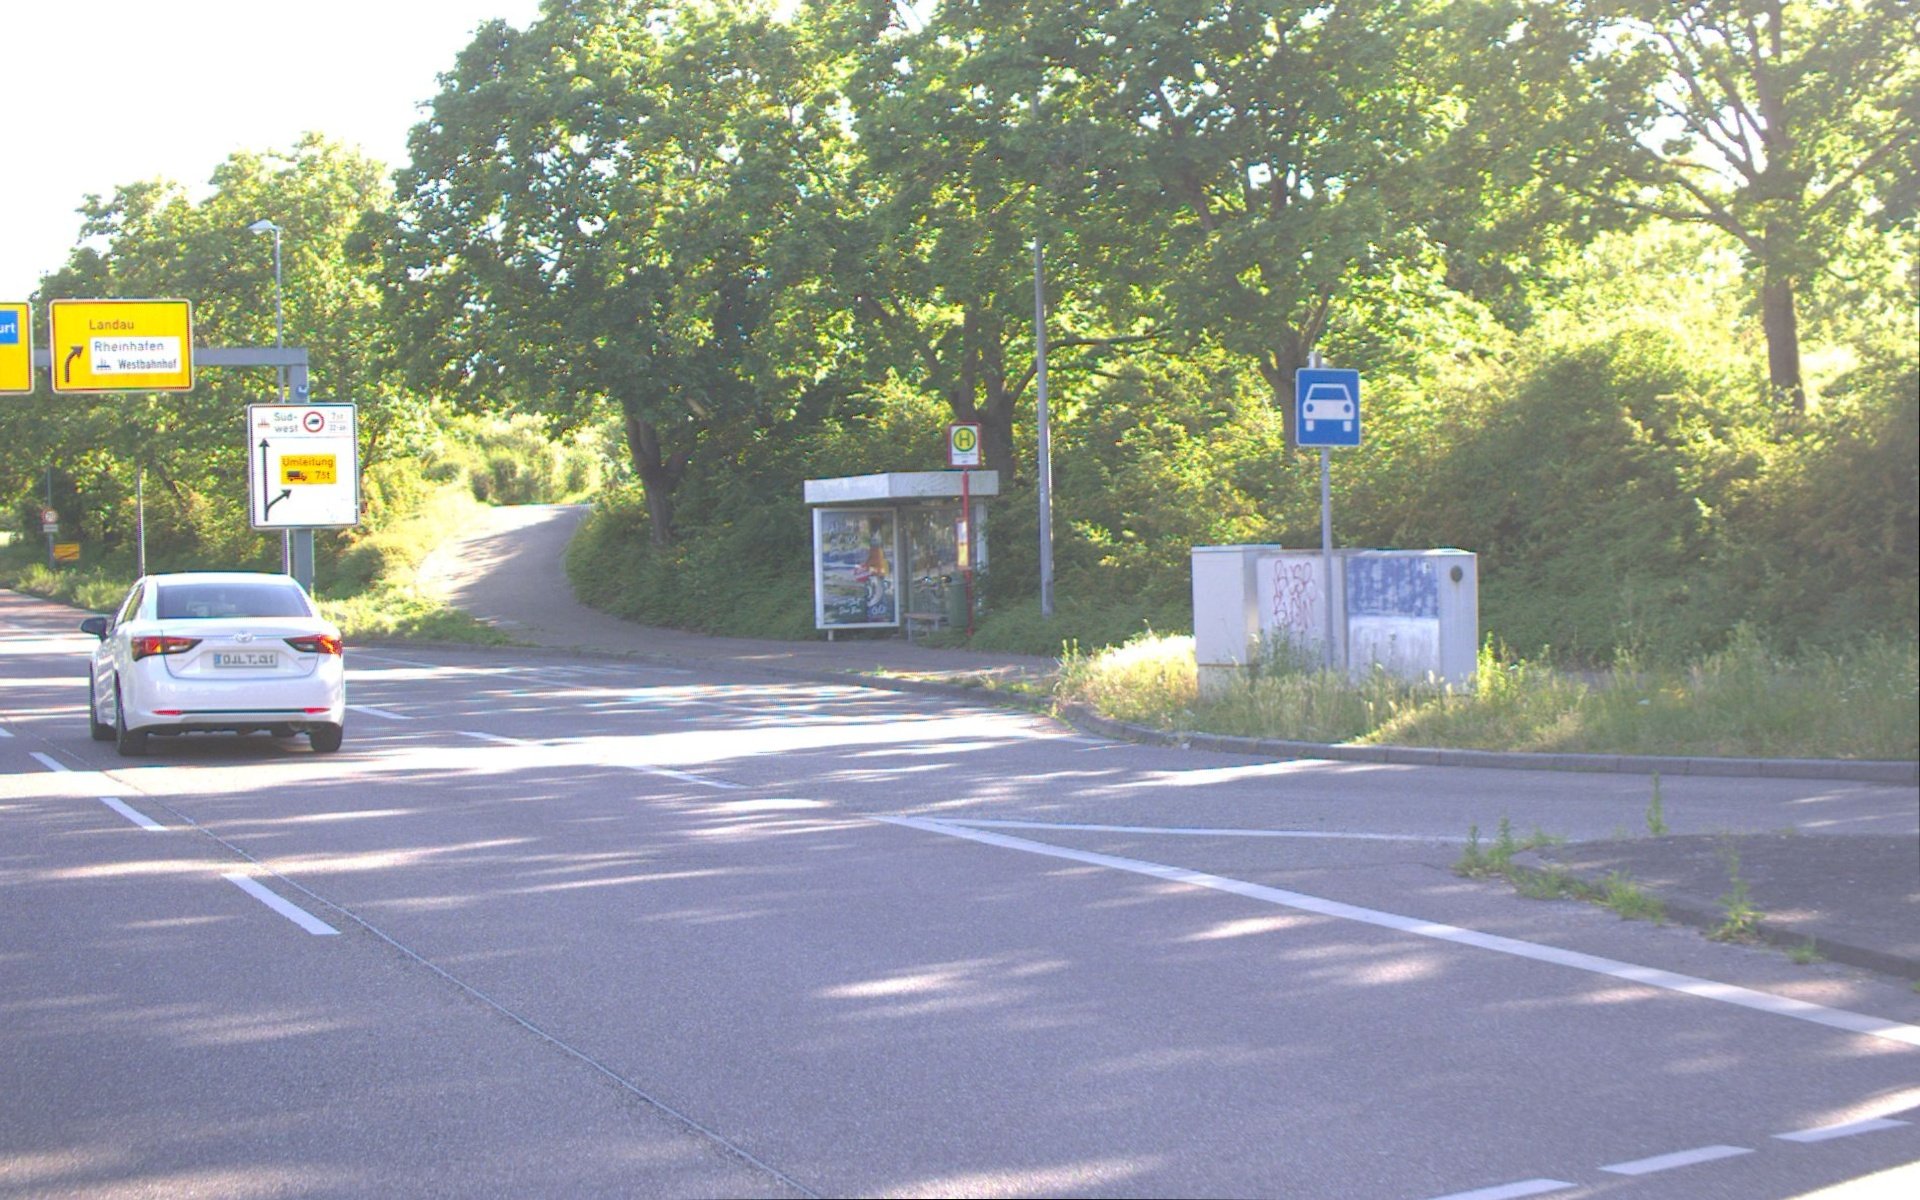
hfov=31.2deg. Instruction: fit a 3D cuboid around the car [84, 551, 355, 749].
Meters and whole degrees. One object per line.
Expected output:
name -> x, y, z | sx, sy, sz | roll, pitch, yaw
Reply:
car -> -6.275, 0.353, 28.802 | 1.767, 1.459, 4.367 | -2, 2, -18
